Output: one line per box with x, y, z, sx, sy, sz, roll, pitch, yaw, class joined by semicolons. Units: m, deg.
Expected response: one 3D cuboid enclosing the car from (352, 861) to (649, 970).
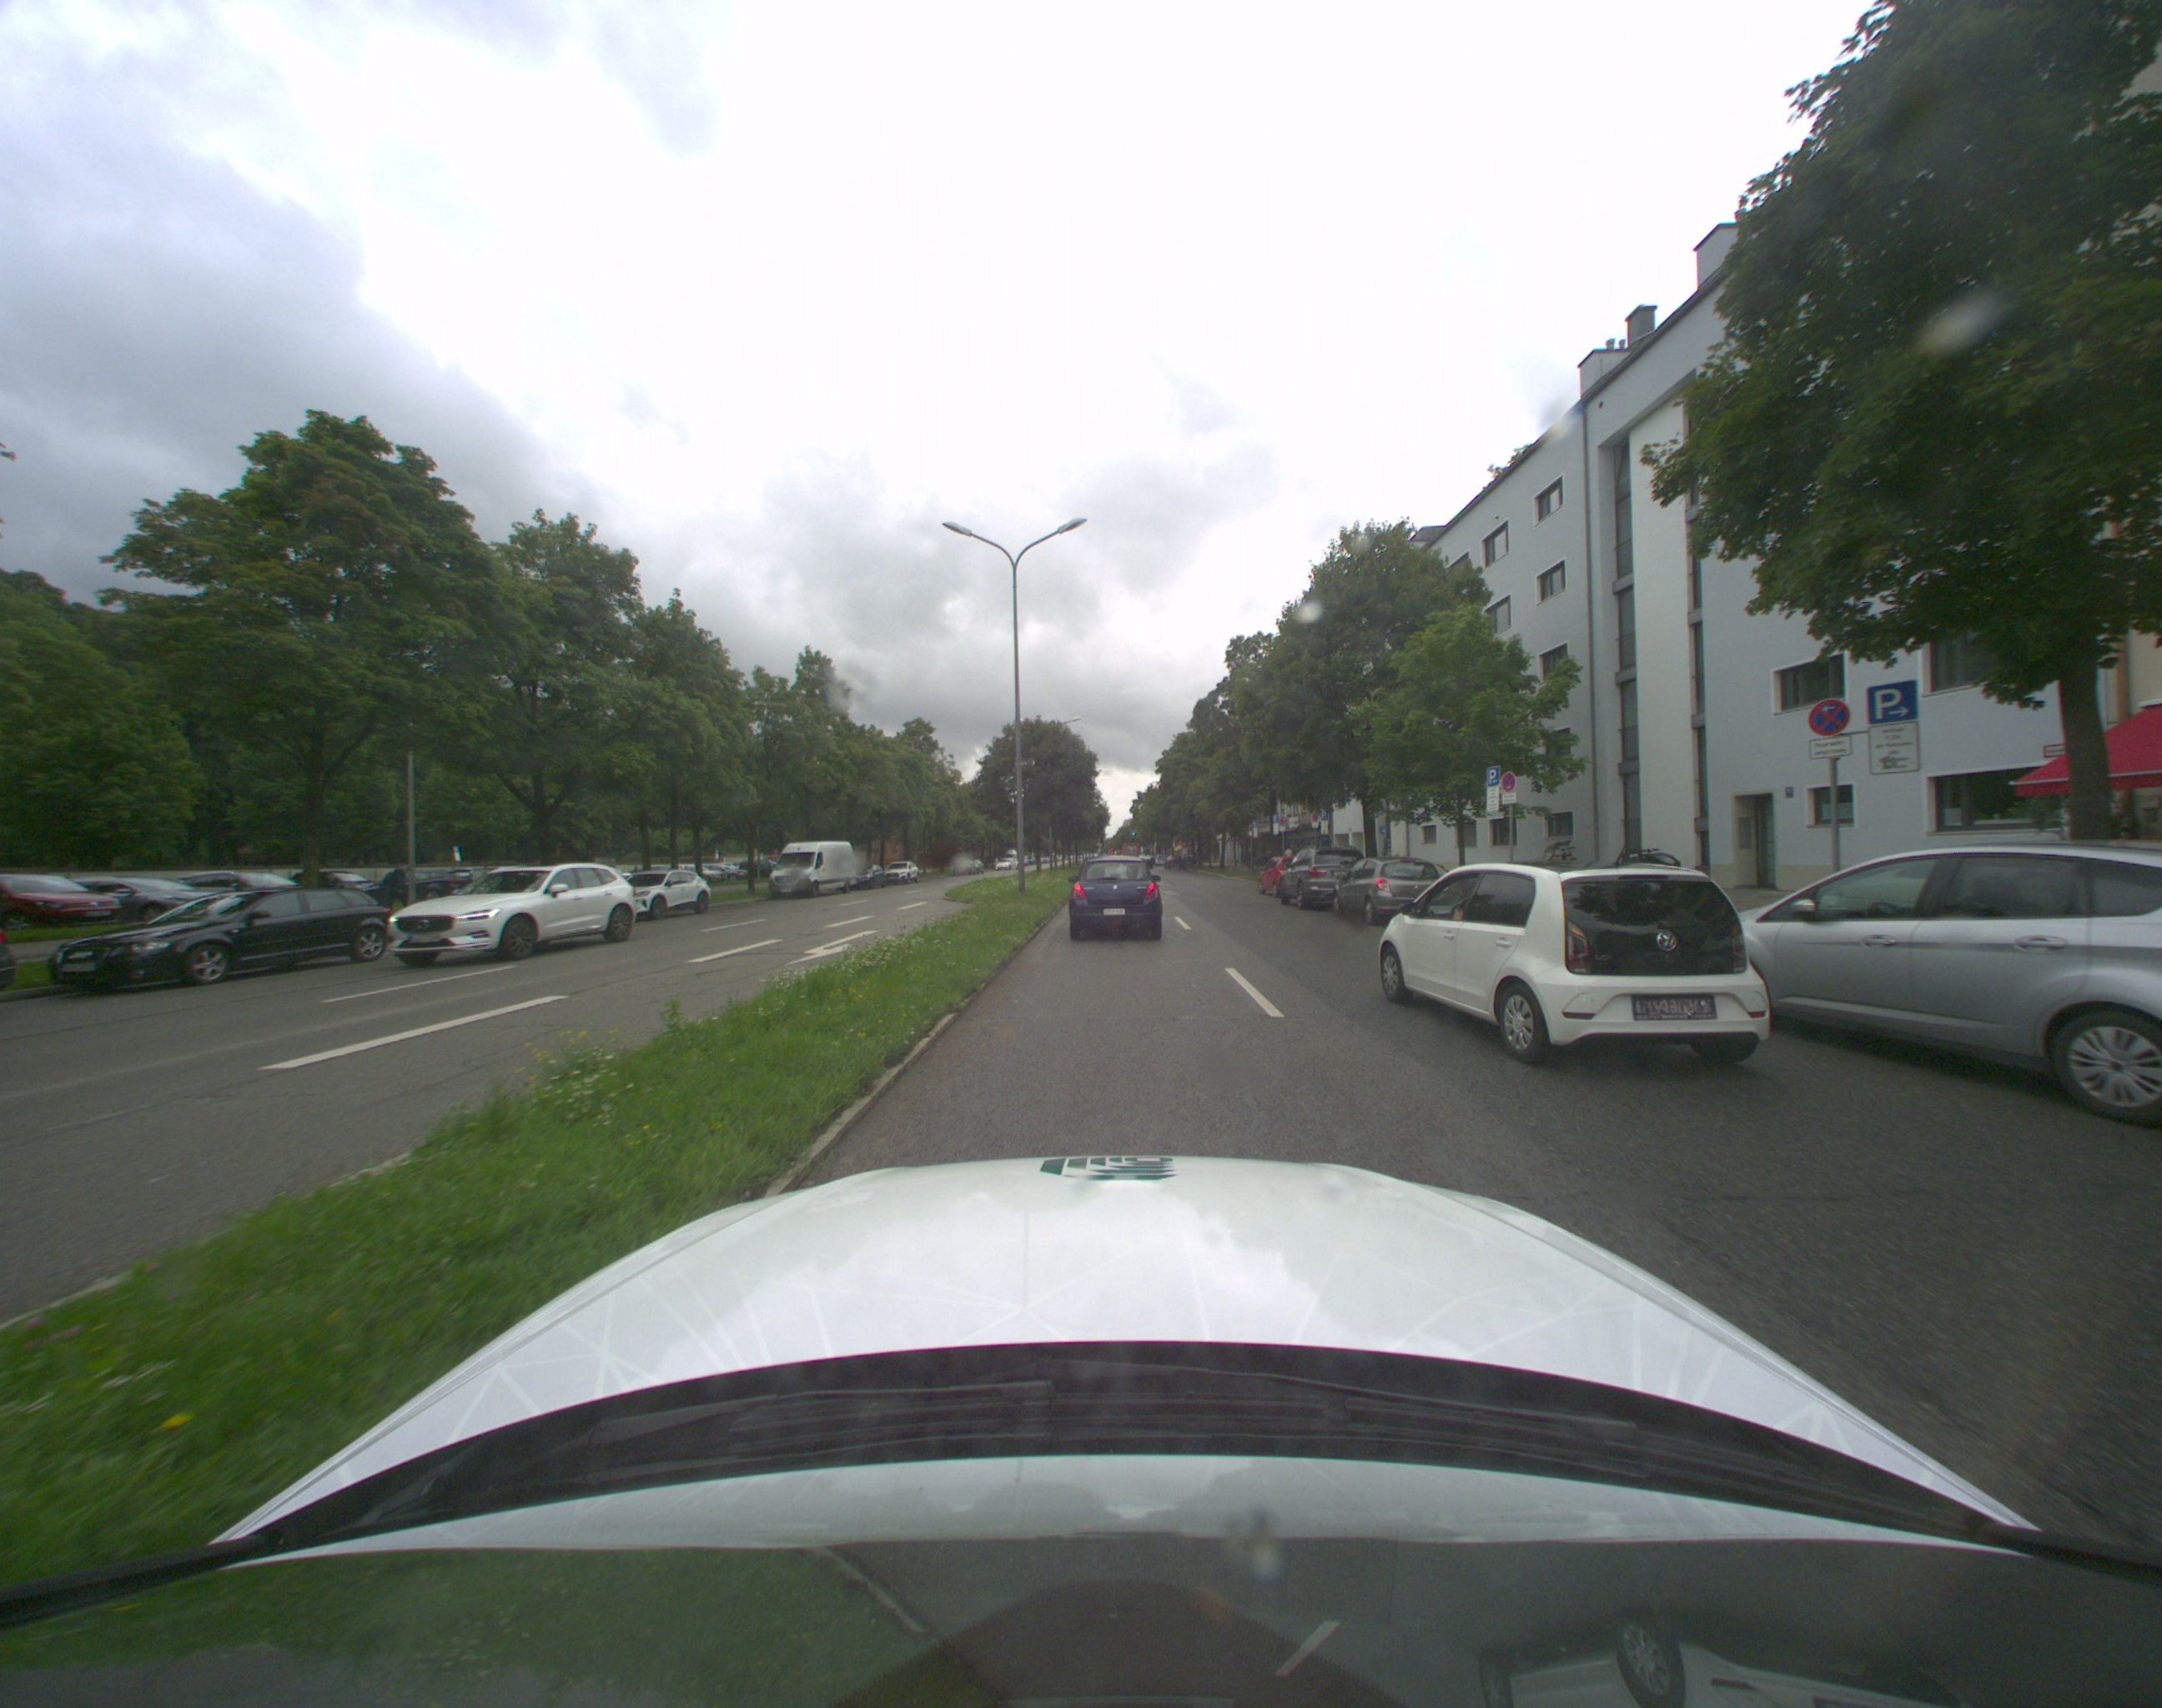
-10.438;0.995;15.242;2.017;1.620;4.686;-2;0;2;car

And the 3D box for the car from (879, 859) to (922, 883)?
-12.094;1.121;54.743;1.851;1.491;4.142;-1;-1;1;car

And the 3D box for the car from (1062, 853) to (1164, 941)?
0.660;0.745;16.117;1.745;1.505;4.003;-1;0;3;car

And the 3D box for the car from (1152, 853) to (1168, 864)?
10.505;0.551;108.261;1.648;1.452;3.999;-1;0;0;car

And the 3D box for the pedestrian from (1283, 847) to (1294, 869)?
15.233;0.303;59.800;0.547;1.629;0.641;-3;0;2;pedestrian

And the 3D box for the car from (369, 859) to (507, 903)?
-24.933;1.029;31.666;3.970;1.570;1.816;-1;0;3;car

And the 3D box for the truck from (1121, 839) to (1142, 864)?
7.901;-0.365;127.820;3.029;3.557;13.684;-1;0;3;truck

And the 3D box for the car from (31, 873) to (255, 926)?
-26.078;1.246;22.759;3.980;1.284;1.738;-1;0;-5;car

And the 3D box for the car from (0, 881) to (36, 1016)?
-13.921;1.147;8.024;1.813;1.599;4.116;-1;0;3;car

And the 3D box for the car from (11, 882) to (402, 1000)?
-13.741;1.274;13.222;1.813;1.409;4.005;-3;0;4;car

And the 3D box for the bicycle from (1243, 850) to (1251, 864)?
17.170;0.297;84.360;0.577;1.463;1.689;-1;0;2;bicycle

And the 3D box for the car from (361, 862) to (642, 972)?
-10.369;1.016;15.102;1.843;1.600;4.405;-3;0;2;car

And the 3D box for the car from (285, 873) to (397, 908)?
-37.434;1.829;41.266;3.974;1.596;1.770;-1;0;0;car

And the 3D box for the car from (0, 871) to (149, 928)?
-26.318;1.127;20.286;3.979;1.284;1.739;-1;0;-4;car

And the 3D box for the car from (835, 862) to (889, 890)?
-12.550;1.243;46.939;1.851;1.491;4.252;-1;-1;1;car

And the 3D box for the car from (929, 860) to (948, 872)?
-19.607;1.608;112.120;1.807;1.536;4.299;0;0;1;car

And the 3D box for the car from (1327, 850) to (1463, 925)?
7.054;0.692;18.700;1.822;1.522;3.774;-1;0;3;car

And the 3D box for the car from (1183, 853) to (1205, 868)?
12.604;0.739;91.298;1.986;1.643;4.335;-1;0;2;car

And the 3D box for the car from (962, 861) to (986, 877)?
-10.926;1.508;83.375;1.632;1.537;4.316;-4;0;2;car

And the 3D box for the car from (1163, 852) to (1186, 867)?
9.586;0.580;83.710;1.986;1.452;4.002;-1;0;2;car

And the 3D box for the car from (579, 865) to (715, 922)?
-13.338;1.162;25.367;1.815;1.527;4.299;-3;-1;1;car

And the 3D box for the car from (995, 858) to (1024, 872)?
-8.905;1.335;101.329;1.746;1.537;4.338;-4;0;22;car

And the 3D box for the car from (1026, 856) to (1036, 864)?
-10.040;1.219;163.422;1.700;1.534;4.002;-1;0;2;car

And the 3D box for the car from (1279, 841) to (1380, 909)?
6.988;0.552;23.361;1.821;1.746;4.514;-1;0;5;car

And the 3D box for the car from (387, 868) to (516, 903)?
-26.622;1.328;34.543;3.974;1.338;1.814;-1;0;-1;car

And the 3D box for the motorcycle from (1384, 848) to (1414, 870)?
16.206;0.258;41.581;0.758;1.086;2.201;-2;0;2;motorcycle

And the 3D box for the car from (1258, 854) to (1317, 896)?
7.666;0.723;30.538;1.514;1.441;4.005;-1;0;5;car

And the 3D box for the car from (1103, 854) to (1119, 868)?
3.336;0.751;90.320;1.712;1.500;4.302;-1;0;2;car

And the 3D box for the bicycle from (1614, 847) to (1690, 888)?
16.110;0.359;23.048;0.619;1.046;2.196;-5;0;2;bicycle

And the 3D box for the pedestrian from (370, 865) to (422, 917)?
-20.728;1.105;24.665;0.791;1.495;0.857;-2;0;2;pedestrian

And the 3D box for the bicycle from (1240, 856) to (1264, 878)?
10.133;0.784;48.399;0.455;1.256;2.138;-1;0;-16;bicycle

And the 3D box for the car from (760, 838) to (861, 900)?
-12.839;0.625;39.373;2.131;2.643;7.109;-3;0;2;car

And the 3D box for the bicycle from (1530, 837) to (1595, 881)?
16.295;0.168;27.656;0.700;1.407;2.594;-3;0;2;bicycle

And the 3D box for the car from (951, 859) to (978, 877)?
-11.073;1.316;77.791;1.880;1.537;4.314;-4;0;0;car

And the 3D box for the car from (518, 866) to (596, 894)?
-39.429;1.940;61.359;4.489;2.034;2.001;-1;0;1;car

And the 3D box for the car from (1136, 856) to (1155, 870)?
7.003;0.943;88.325;1.814;1.477;4.693;1;0;2;car

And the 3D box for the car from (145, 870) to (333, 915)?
-26.622;1.196;25.857;3.980;1.258;1.687;-1;0;-5;car

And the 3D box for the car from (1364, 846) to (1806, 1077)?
3.935;0.710;7.099;1.682;1.490;3.433;-1;0;-1;car

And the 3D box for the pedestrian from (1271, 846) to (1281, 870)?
14.321;0.315;59.819;0.498;1.733;0.733;-1;0;2;pedestrian

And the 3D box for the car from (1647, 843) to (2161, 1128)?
6.704;0.699;6.056;1.824;1.522;4.522;-1;0;0;car

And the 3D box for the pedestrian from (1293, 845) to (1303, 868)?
16.005;0.193;60.183;0.539;1.640;0.725;-1;0;2;pedestrian
